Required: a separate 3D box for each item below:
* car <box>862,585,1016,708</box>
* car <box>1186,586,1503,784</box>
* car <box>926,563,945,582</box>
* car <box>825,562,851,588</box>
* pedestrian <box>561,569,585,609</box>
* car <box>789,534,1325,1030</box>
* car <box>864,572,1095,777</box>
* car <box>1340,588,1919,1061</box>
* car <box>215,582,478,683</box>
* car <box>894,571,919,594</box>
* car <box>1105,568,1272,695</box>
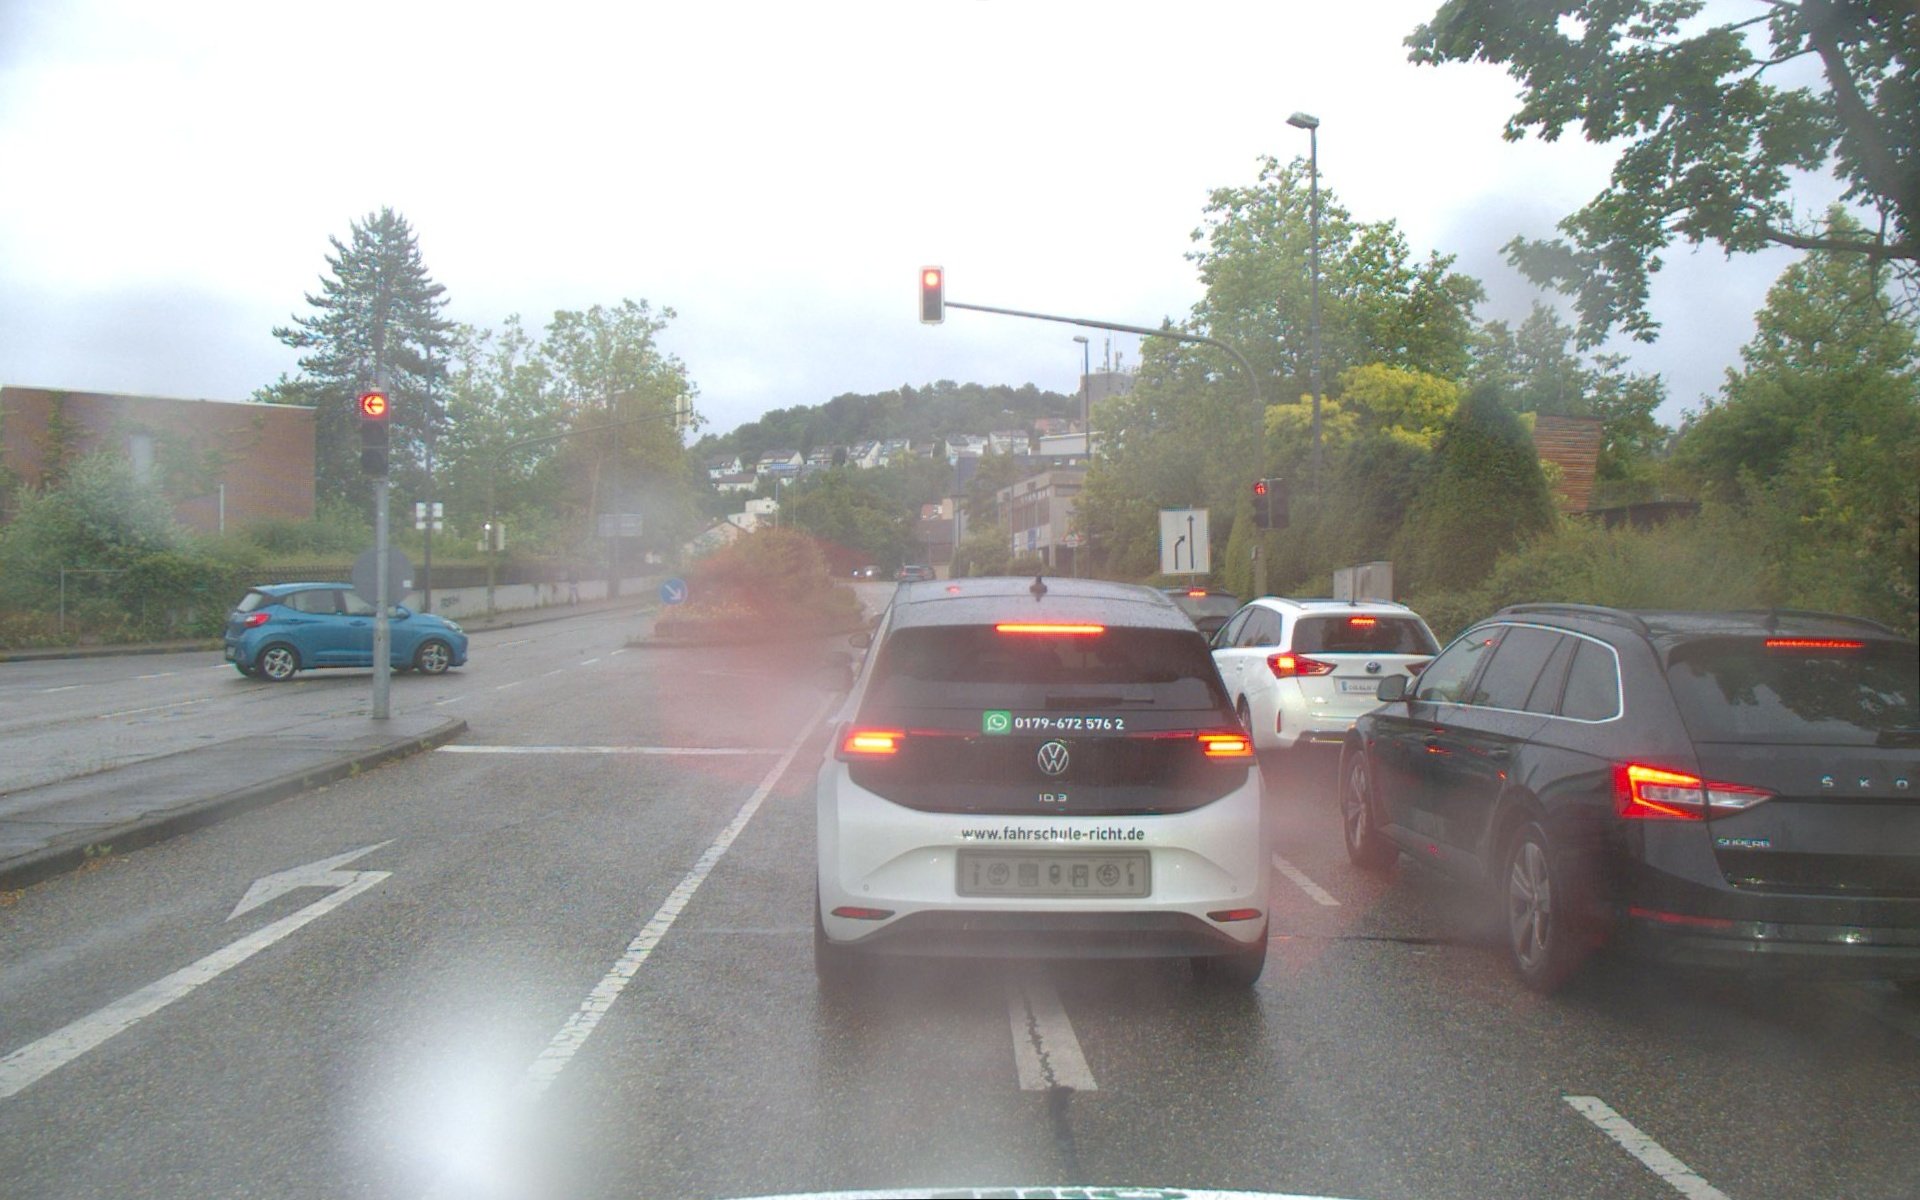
[{"bbox_3d":[-0.298,0.540,21.661,1.800,1.424,3.830,1,1,-1],"label":"car"},{"bbox_3d":[3.293,0.650,15.012,1.800,1.492,4.116,1,1,-1],"label":"car"},{"bbox_3d":[-2.297,-2.601,157.496,1.739,1.609,3.999,-2,0,-1],"label":"car"},{"bbox_3d":[-10.354,-2.097,140.264,1.953,2.049,3.999,1,-1,-1],"label":"car"},{"bbox_3d":[-16.051,-0.457,68.636,0.744,1.595,0.825,-2,0,-2],"label":"pedestrian"},{"bbox_3d":[0.281,0.601,7.966,1.800,1.657,4.614,1,1,-1],"label":"car"},{"bbox_3d":[0.109,0.571,15.202,1.800,1.582,4.174,1,1,-1],"label":"car"},{"bbox_3d":[3.124,0.722,7.522,1.800,1.492,4.350,1,1,1],"label":"car"},{"bbox_3d":[-9.851,0.480,26.601,3.700,1.443,1.747,-2,1,-32],"label":"car"},{"bbox_3d":[-4.092,-1.331,126.878,1.739,1.609,3.999,-2,0,-1],"label":"car"},{"bbox_3d":[3.140,0.413,23.448,1.739,1.609,3.999,1,0,-1],"label":"car"}]
